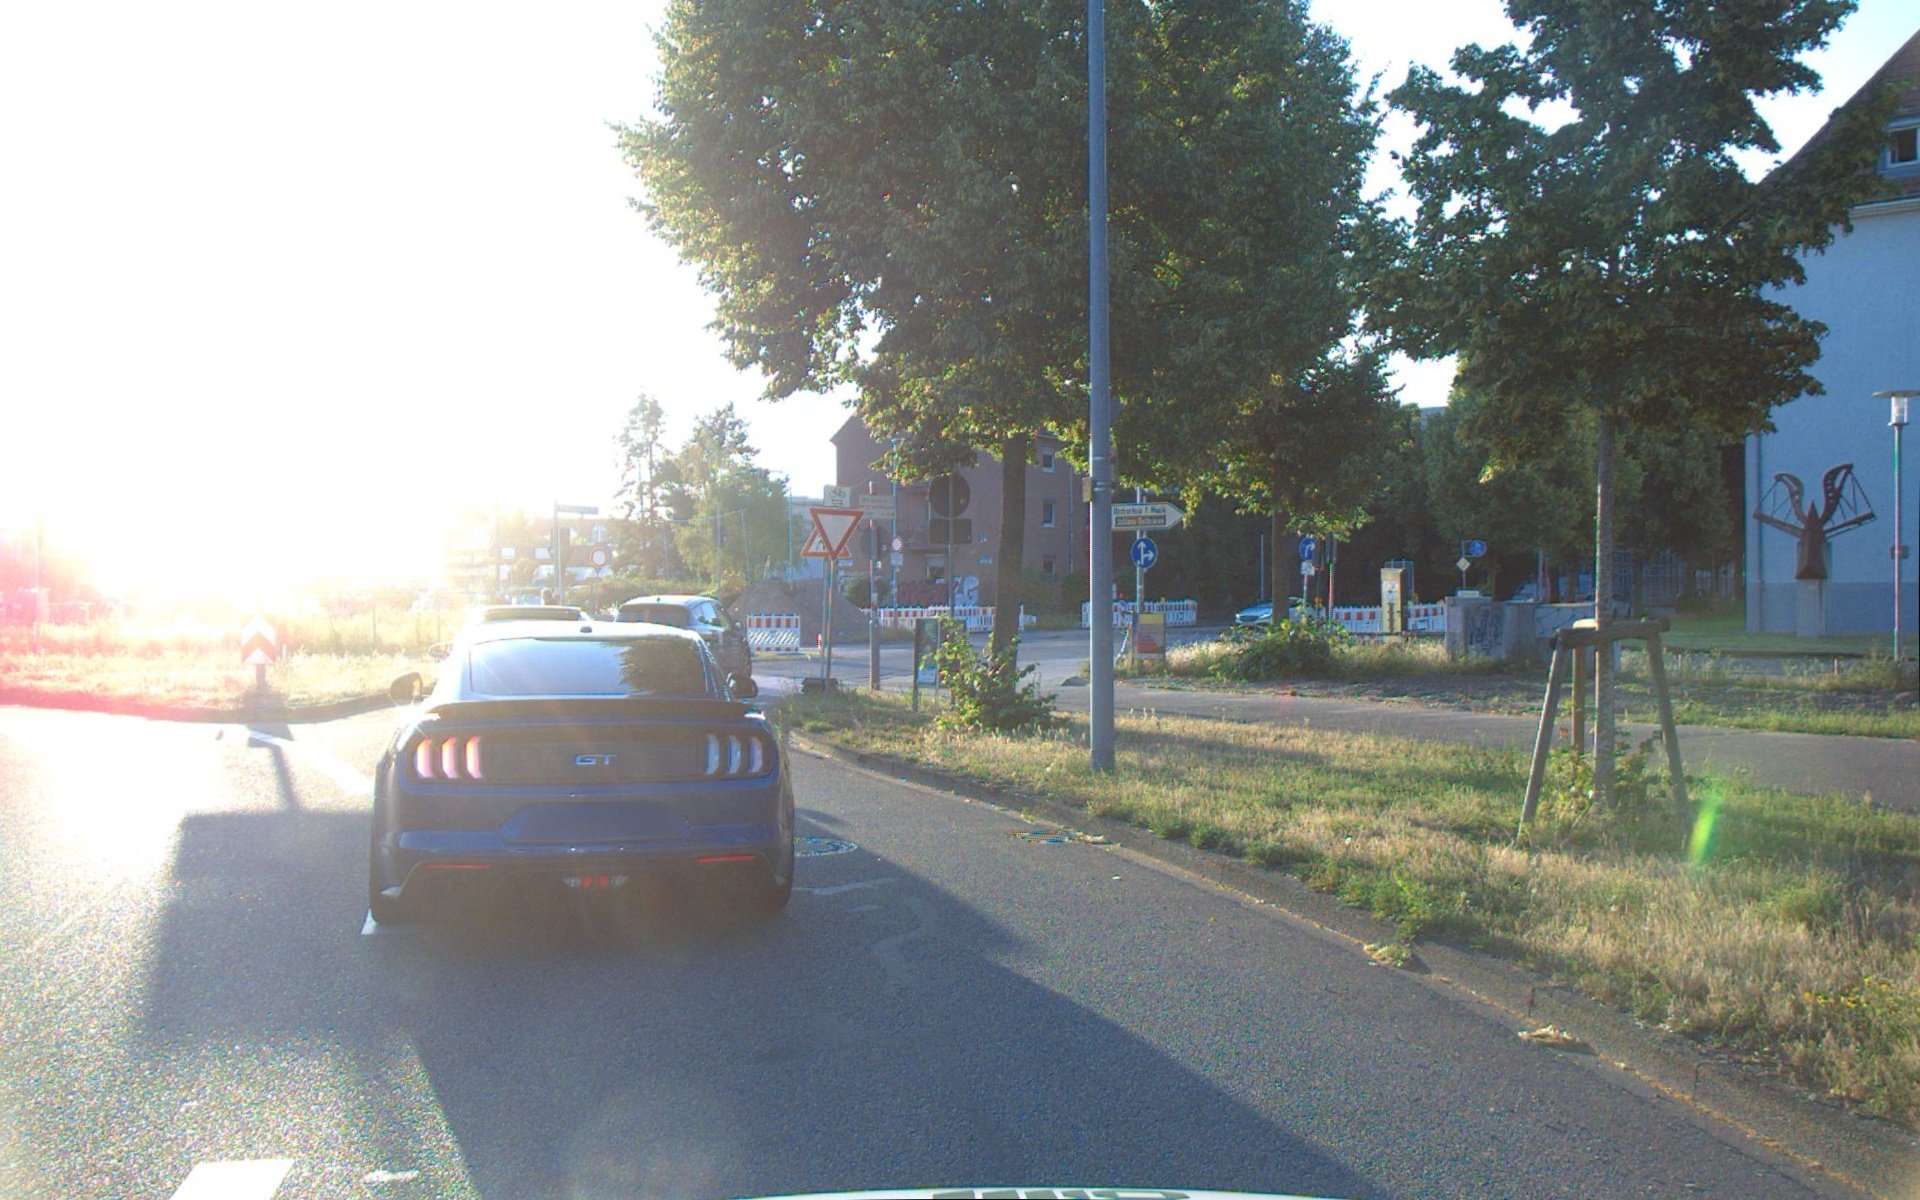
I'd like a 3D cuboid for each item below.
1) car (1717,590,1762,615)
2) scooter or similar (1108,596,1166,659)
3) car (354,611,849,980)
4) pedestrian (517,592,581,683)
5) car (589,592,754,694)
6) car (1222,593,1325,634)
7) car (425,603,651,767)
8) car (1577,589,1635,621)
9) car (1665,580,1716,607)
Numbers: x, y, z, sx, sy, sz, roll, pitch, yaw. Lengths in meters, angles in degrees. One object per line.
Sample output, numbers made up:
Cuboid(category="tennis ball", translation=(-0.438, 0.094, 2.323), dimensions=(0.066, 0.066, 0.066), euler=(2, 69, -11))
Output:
Cuboid(category="car", translation=(53.396, 0.174, 113.287), dimensions=(1.920, 1.630, 4.059), euler=(1, 0, 38))
Cuboid(category="scooter or similar", translation=(3.623, 0.560, 33.788), dimensions=(1.101, 1.260, 0.441), euler=(0, 0, -14))
Cuboid(category="car", translation=(-2.049, 0.763, 8.791), dimensions=(1.920, 1.365, 4.648), euler=(0, 0, -17))
Cuboid(category="pedestrian", translation=(-7.958, 0.713, 32.037), dimensions=(0.868, 1.716, 0.844), euler=(0, 0, 34))
Cuboid(category="car", translation=(-4.904, 0.694, 28.694), dimensions=(1.910, 1.630, 4.079), euler=(0, 0, 3))
Cuboid(category="car", translation=(13.137, 0.531, 69.120), dimensions=(2.040, 1.478, 4.627), euler=(6, 4, 43))
Cuboid(category="car", translation=(-4.469, 0.804, 17.043), dimensions=(1.921, 1.452, 4.406), euler=(2, -1, -18))
Cuboid(category="car", translation=(34.004, 0.241, 87.015), dimensions=(1.918, 1.630, 4.062), euler=(1, 0, 36))
Cuboid(category="car", translation=(44.922, -0.404, 101.635), dimensions=(1.920, 1.630, 4.059), euler=(1, 0, 38))
